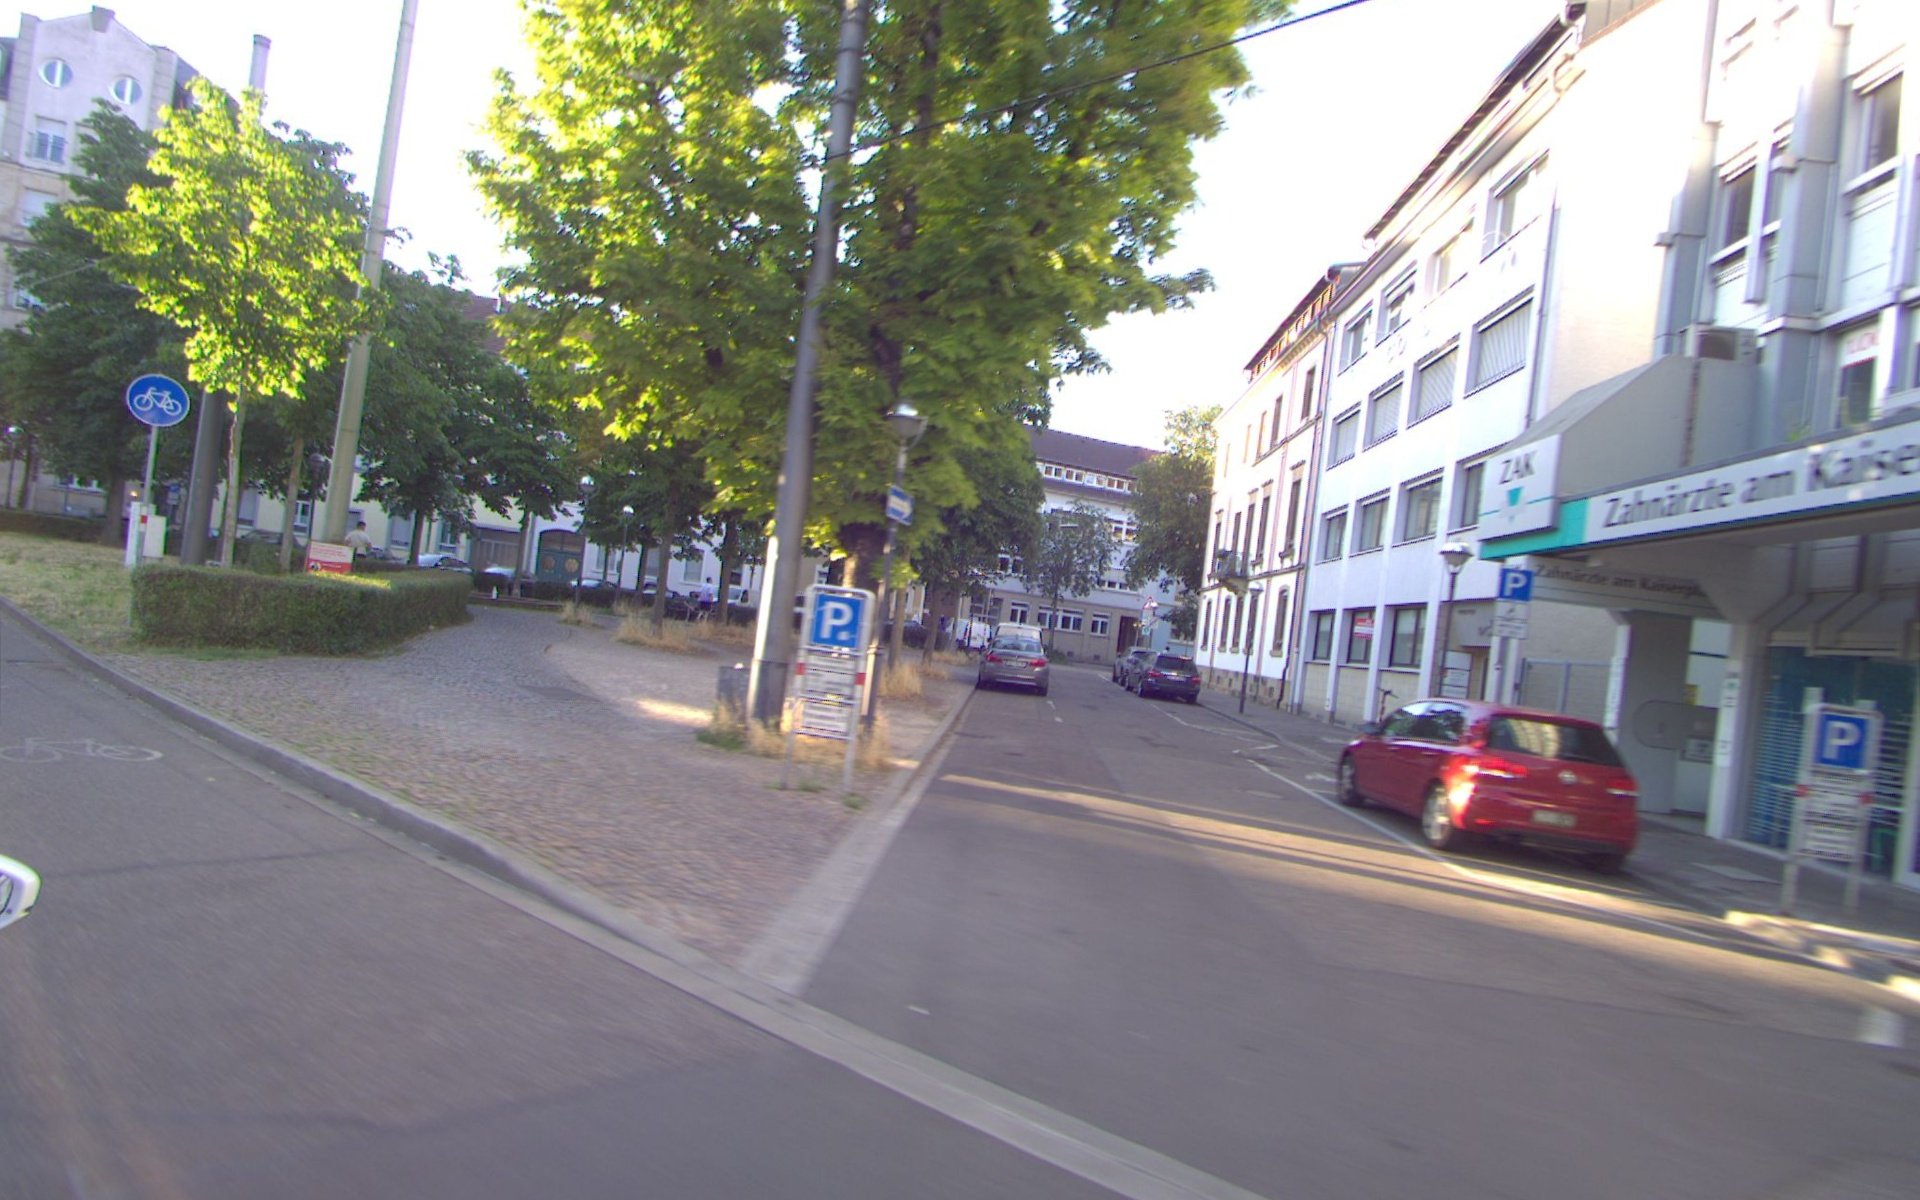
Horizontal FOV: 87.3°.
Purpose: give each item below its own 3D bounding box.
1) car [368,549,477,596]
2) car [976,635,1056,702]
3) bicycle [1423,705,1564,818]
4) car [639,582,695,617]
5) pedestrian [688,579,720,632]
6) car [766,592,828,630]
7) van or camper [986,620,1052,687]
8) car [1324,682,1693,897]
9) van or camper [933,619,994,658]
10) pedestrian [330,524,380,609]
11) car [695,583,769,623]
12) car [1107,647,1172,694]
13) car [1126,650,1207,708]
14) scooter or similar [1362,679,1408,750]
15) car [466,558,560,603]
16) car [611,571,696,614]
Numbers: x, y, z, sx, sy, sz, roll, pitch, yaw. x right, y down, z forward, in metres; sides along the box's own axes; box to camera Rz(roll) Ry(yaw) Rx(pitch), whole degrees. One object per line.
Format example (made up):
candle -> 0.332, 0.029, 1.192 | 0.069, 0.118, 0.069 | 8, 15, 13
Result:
car -> -21.817, -1.063, 41.045 | 1.827, 1.443, 4.333 | 7, -2, 2
car -> 1.468, 1.772, 27.185 | 1.827, 1.443, 4.333 | 7, -2, 2
bicycle -> 7.143, 2.129, 13.587 | 0.515, 1.194, 1.929 | 8, -1, -8
car -> -16.024, -0.009, 55.259 | 1.965, 1.582, 3.999 | 8, -2, -4
pedestrian -> -9.021, 0.197, 35.482 | 0.757, 1.769, 1.006 | 8, -1, -9
car -> -7.359, 0.554, 45.815 | 1.827, 1.443, 4.333 | 7, -2, 2
van or camper -> 1.876, 1.703, 32.646 | 1.799, 1.788, 3.871 | 8, -1, 2
car -> 5.548, 1.835, 10.841 | 1.799, 1.456, 3.871 | 8, -1, 2
van or camper -> 0.179, 2.305, 61.410 | 1.812, 1.892, 4.337 | 8, -1, -26
pedestrian -> -15.269, -0.840, 25.411 | 0.641, 2.037, 0.815 | 8, 0, -14
car -> -10.176, 0.182, 45.223 | 1.826, 1.443, 4.473 | 6, -2, 5
car -> 6.954, 2.704, 39.285 | 1.799, 1.456, 3.871 | 8, -1, 2
car -> 6.625, 2.511, 32.670 | 1.799, 1.456, 3.871 | 8, -1, 2
scooter or similar -> 9.224, 2.456, 21.881 | 0.423, 1.384, 1.691 | 7, -1, 11
car -> -19.070, -0.796, 43.159 | 1.827, 1.442, 4.333 | 8, -2, 2
car -> -13.122, -0.272, 43.332 | 1.826, 1.443, 4.473 | 6, -2, 5
